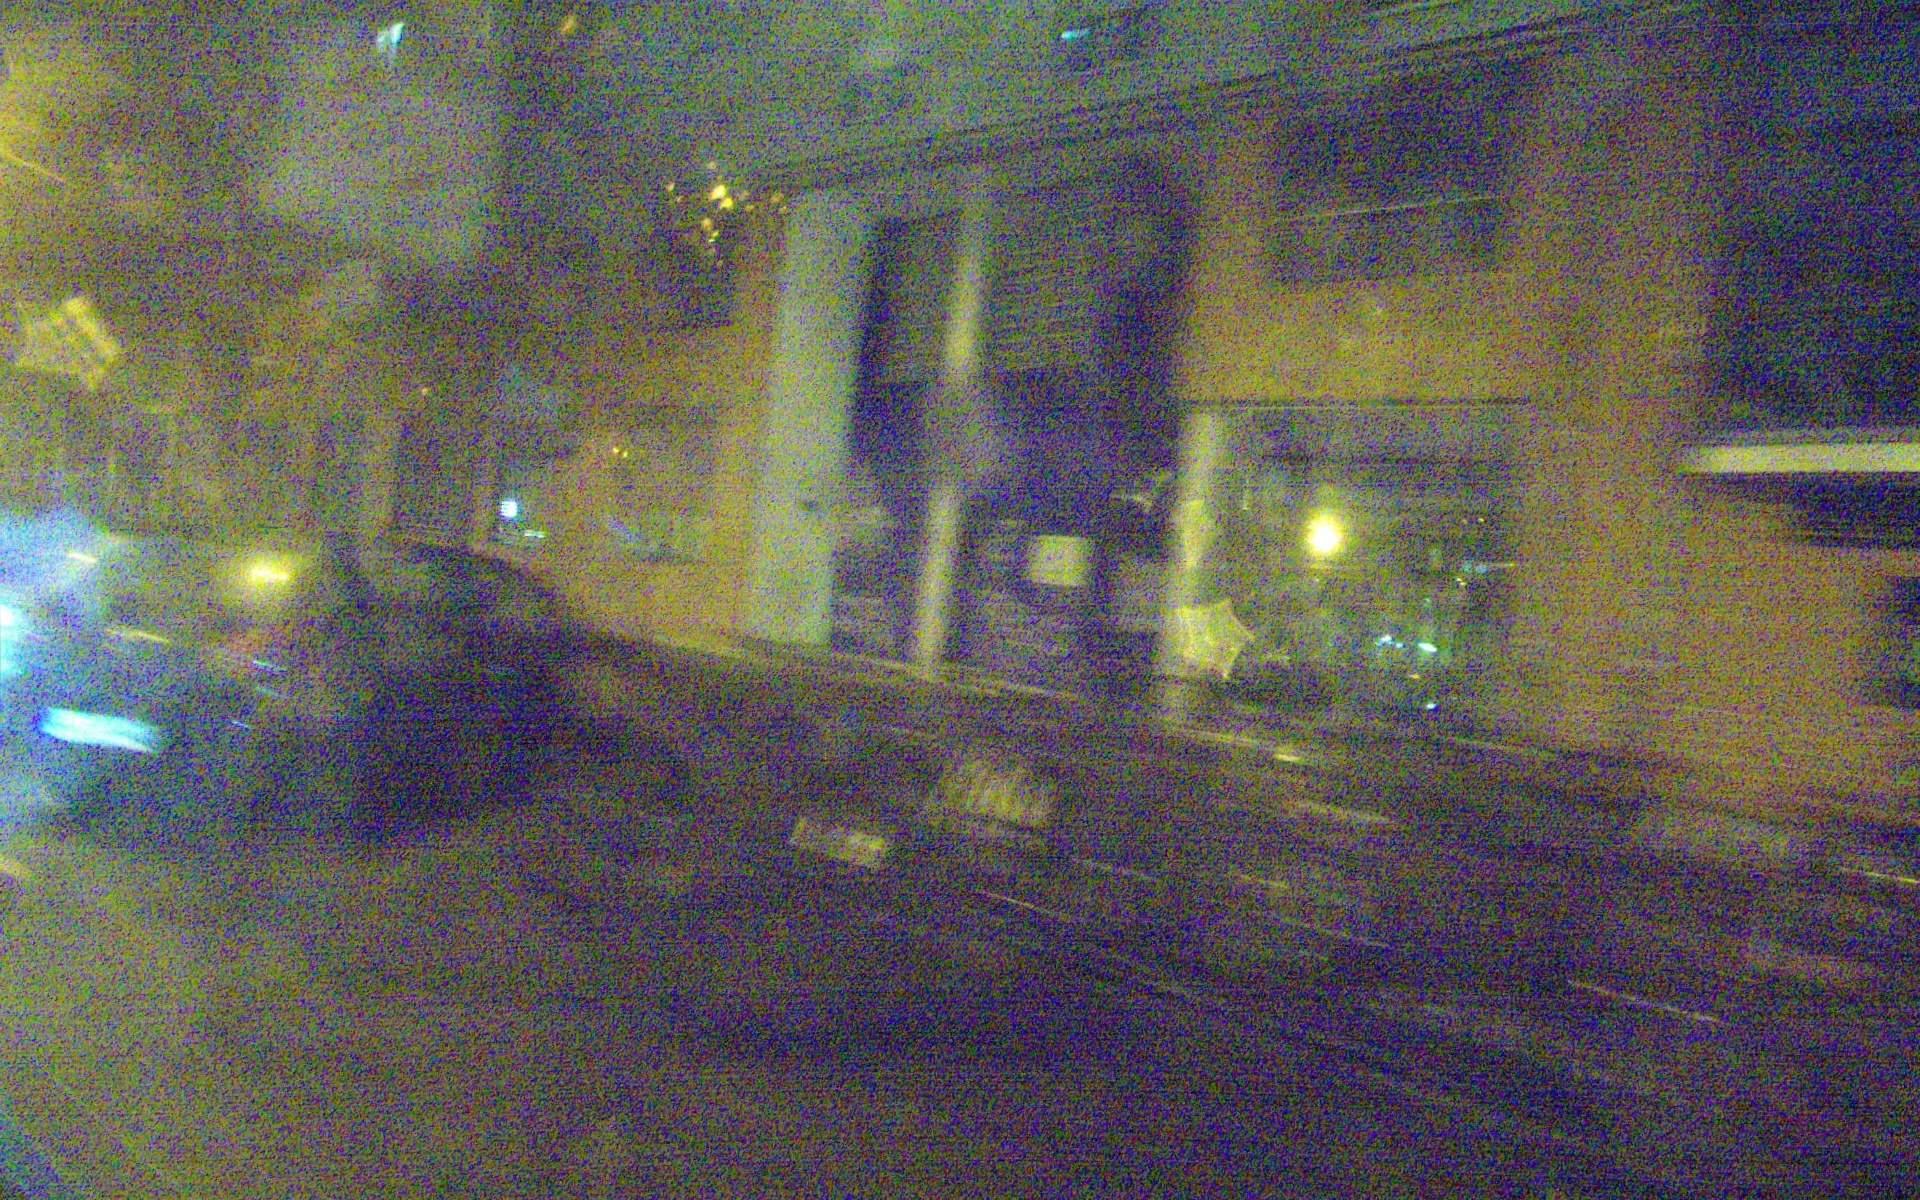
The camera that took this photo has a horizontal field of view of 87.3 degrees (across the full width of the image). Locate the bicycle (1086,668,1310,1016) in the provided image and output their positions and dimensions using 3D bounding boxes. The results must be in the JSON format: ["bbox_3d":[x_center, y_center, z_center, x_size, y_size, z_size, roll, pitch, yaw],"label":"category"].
[{"bbox_3d":[1.095,0.914,4.355,0.410,1.173,1.597,7,1,29],"label":"bicycle"}]

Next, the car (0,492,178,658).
[{"bbox_3d":[-10.233,-0.346,9.957,1.680,1.629,3.570,7,-2,11],"label":"car"}]

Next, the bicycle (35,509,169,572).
[{"bbox_3d":[-17.178,-1.172,20.190,0.501,1.068,1.974,6,2,26],"label":"bicycle"}]

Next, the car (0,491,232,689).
[{"bbox_3d":[-8.246,-0.143,8.513,1.476,1.570,3.052,7,-2,11],"label":"car"}]

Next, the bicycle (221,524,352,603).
[{"bbox_3d":[-11.010,-0.569,16.502,0.586,1.162,1.687,7,2,24],"label":"bicycle"}]

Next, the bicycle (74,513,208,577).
[{"bbox_3d":[-15.985,-1.048,19.690,0.501,1.068,1.974,6,2,26],"label":"bicycle"}]

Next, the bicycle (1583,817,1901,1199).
[{"bbox_3d":[1.736,1.116,2.362,0.297,0.961,1.211,7,3,29],"label":"bicycle"}]

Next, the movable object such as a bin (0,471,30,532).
[{"bbox_3d":[-24.380,-2.524,25.331,0.982,1.471,1.208,7,4,33],"label":"movable object such as a bin"}]

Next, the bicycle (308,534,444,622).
[{"bbox_3d":[-8.296,-0.286,14.356,0.421,1.162,1.687,7,2,24],"label":"bicycle"}]

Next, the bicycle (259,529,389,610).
[{"bbox_3d":[-9.978,-0.457,15.849,0.477,1.162,1.687,7,2,24],"label":"bicycle"}]

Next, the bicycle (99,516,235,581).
[{"bbox_3d":[-14.969,-0.945,19.058,0.501,1.068,1.974,6,2,26],"label":"bicycle"}]

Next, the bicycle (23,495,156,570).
[{"bbox_3d":[-18.262,-1.399,21.148,0.771,1.353,1.968,7,2,38],"label":"bicycle"}]

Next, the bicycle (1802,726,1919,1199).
[{"bbox_3d":[3.162,1.095,3.234,0.411,1.250,1.579,7,1,34],"label":"bicycle"}]

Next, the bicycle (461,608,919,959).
[{"bbox_3d":[-1.078,0.703,4.486,0.669,1.173,1.889,7,1,35],"label":"bicycle"}]

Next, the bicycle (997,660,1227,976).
[{"bbox_3d":[0.774,0.892,4.675,0.410,1.173,1.597,7,1,29],"label":"bicycle"}]

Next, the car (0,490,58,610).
[{"bbox_3d":[-14.423,-0.892,12.742,1.809,1.629,4.067,7,-2,11],"label":"car"}]

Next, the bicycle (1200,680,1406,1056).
[{"bbox_3d":[1.470,0.956,4.137,0.410,1.173,1.597,7,1,29],"label":"bicycle"}]

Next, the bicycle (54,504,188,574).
[{"bbox_3d":[-16.578,-1.173,19.941,0.501,1.207,1.974,6,2,26],"label":"bicycle"}]

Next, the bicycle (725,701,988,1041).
[{"bbox_3d":[-0.326,0.902,3.679,0.263,0.961,1.132,7,3,30],"label":"bicycle"}]

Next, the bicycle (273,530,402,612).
[{"bbox_3d":[-9.567,-0.414,15.518,0.421,1.162,1.687,7,2,24],"label":"bicycle"}]

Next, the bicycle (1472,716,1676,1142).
[{"bbox_3d":[2.243,1.068,3.771,0.410,1.126,1.597,7,1,29],"label":"bicycle"}]

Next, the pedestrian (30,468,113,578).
[{"bbox_3d":[-15.830,-1.360,17.931,0.931,1.861,0.838,5,4,29],"label":"pedestrian"}]

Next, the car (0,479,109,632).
[{"bbox_3d":[-12.478,-0.700,11.271,1.823,1.785,4.112,7,-2,11],"label":"car"}]

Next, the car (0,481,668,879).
[{"bbox_3d":[-3.393,0.322,6.126,1.625,1.542,3.712,6,1,7],"label":"car"}]

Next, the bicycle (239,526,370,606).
[{"bbox_3d":[-10.465,-0.512,16.114,0.532,1.162,1.687,7,2,24],"label":"bicycle"}]

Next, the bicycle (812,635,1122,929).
[{"bbox_3d":[0.101,0.822,4.974,0.531,1.173,1.593,8,1,40],"label":"bicycle"}]

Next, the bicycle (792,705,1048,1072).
[{"bbox_3d":[-0.089,0.912,3.517,0.244,0.987,1.132,7,3,30],"label":"bicycle"}]

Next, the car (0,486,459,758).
[{"bbox_3d":[-5.832,0.070,7.758,1.625,1.542,3.712,6,1,7],"label":"car"}]

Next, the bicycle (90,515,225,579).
[{"bbox_3d":[-15.427,-0.994,19.393,0.501,1.068,1.974,6,2,26],"label":"bicycle"}]
